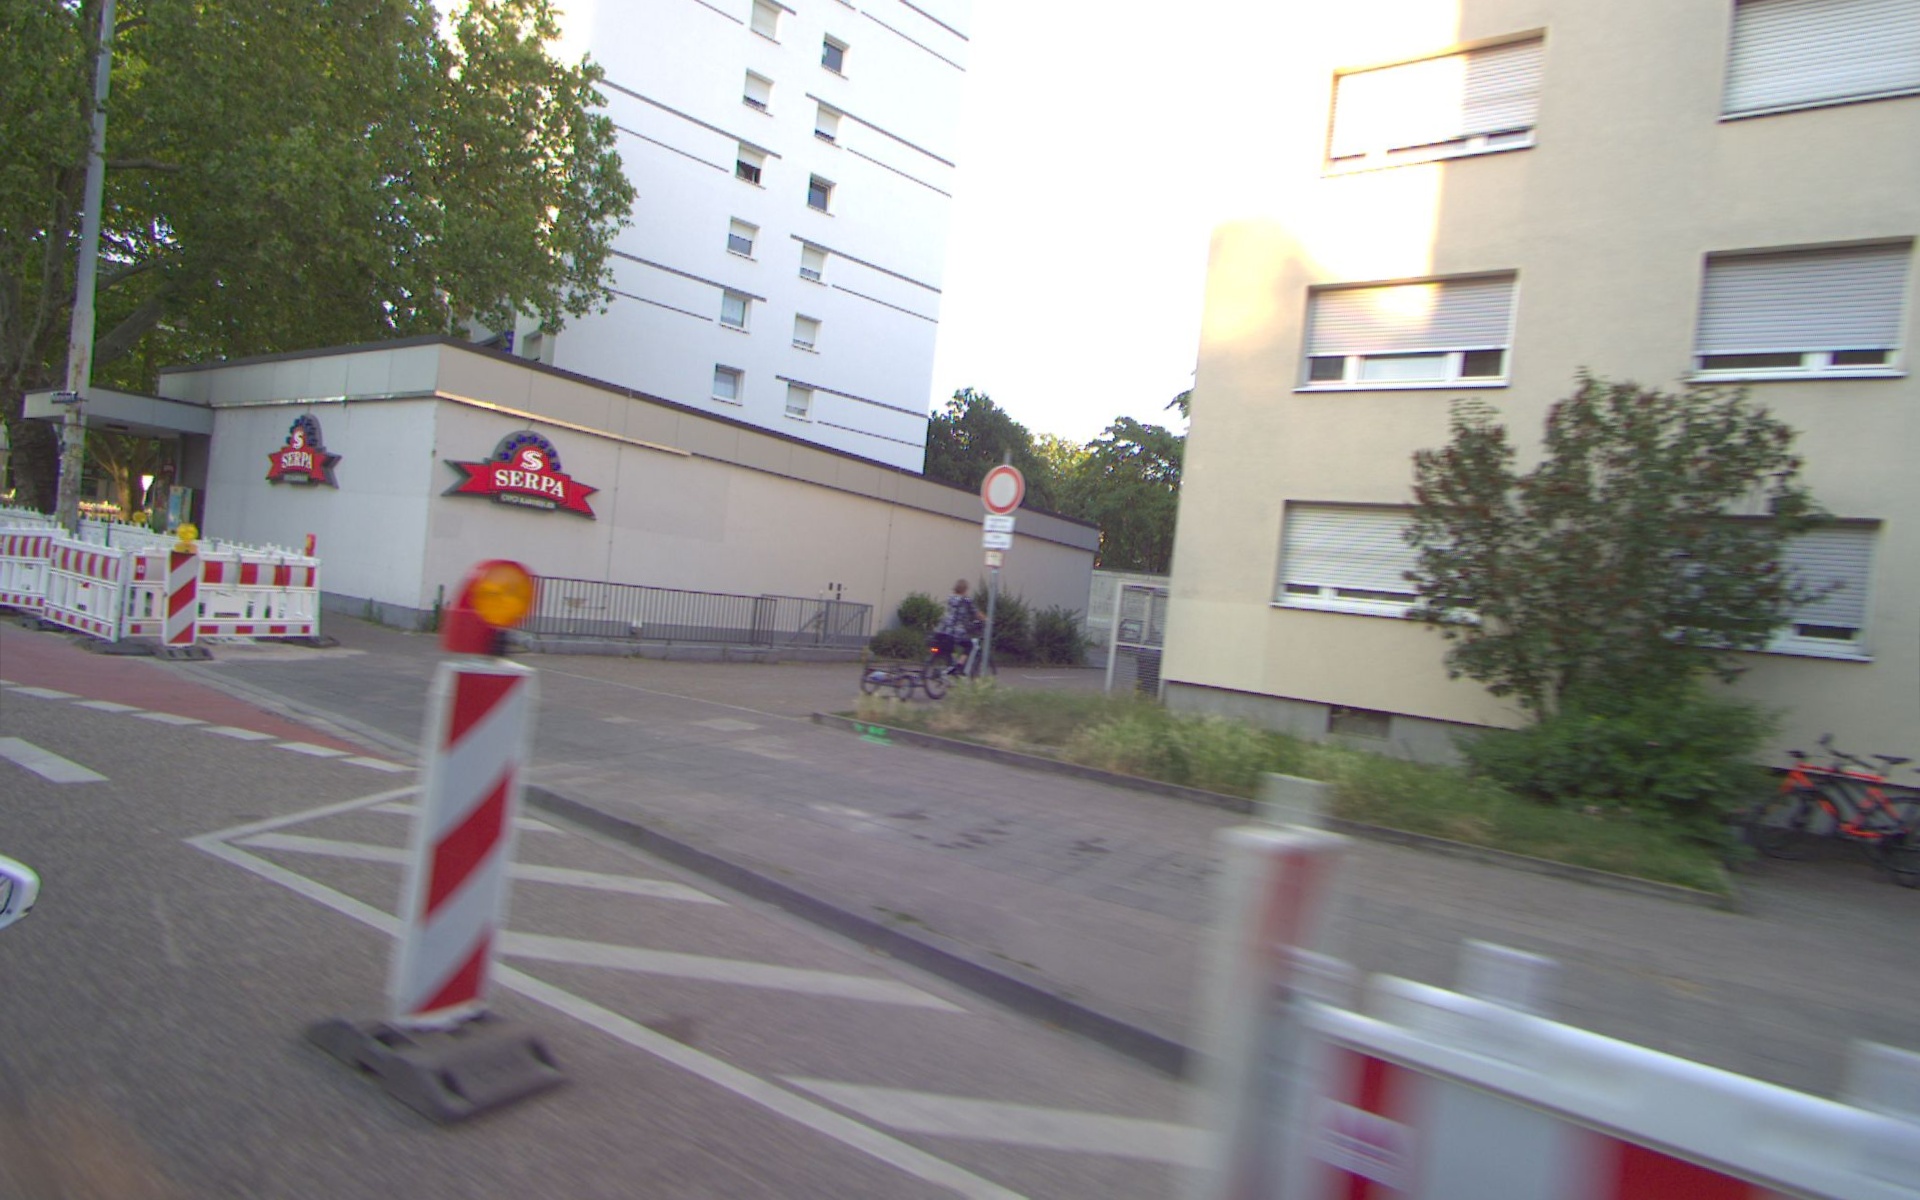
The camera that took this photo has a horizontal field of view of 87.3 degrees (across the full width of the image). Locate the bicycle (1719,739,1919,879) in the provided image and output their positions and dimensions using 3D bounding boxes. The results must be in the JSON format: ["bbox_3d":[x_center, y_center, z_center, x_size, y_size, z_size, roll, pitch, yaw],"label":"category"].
[{"bbox_3d":[8.164,1.929,9.343,1.670,0.980,0.544,7,1,35],"label":"bicycle"}]

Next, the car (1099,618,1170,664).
[{"bbox_3d":[7.637,1.818,43.811,1.964,1.690,3.827,7,0,25],"label":"car"}]

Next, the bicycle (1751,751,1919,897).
[{"bbox_3d":[7.916,1.931,8.490,0.541,0.980,1.797,6,0,-36],"label":"bicycle"}]

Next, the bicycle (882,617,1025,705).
[{"bbox_3d":[-0.057,0.989,15.757,0.928,1.186,2.351,7,-1,36],"label":"bicycle"}]

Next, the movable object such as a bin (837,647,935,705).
[{"bbox_3d":[-1.054,1.089,14.415,0.928,0.697,0.990,6,-1,36],"label":"movable object such as a bin"}]

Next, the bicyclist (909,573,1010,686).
[{"bbox_3d":[0.002,0.471,15.749,0.928,1.601,1.142,7,0,36],"label":"bicyclist"}]
